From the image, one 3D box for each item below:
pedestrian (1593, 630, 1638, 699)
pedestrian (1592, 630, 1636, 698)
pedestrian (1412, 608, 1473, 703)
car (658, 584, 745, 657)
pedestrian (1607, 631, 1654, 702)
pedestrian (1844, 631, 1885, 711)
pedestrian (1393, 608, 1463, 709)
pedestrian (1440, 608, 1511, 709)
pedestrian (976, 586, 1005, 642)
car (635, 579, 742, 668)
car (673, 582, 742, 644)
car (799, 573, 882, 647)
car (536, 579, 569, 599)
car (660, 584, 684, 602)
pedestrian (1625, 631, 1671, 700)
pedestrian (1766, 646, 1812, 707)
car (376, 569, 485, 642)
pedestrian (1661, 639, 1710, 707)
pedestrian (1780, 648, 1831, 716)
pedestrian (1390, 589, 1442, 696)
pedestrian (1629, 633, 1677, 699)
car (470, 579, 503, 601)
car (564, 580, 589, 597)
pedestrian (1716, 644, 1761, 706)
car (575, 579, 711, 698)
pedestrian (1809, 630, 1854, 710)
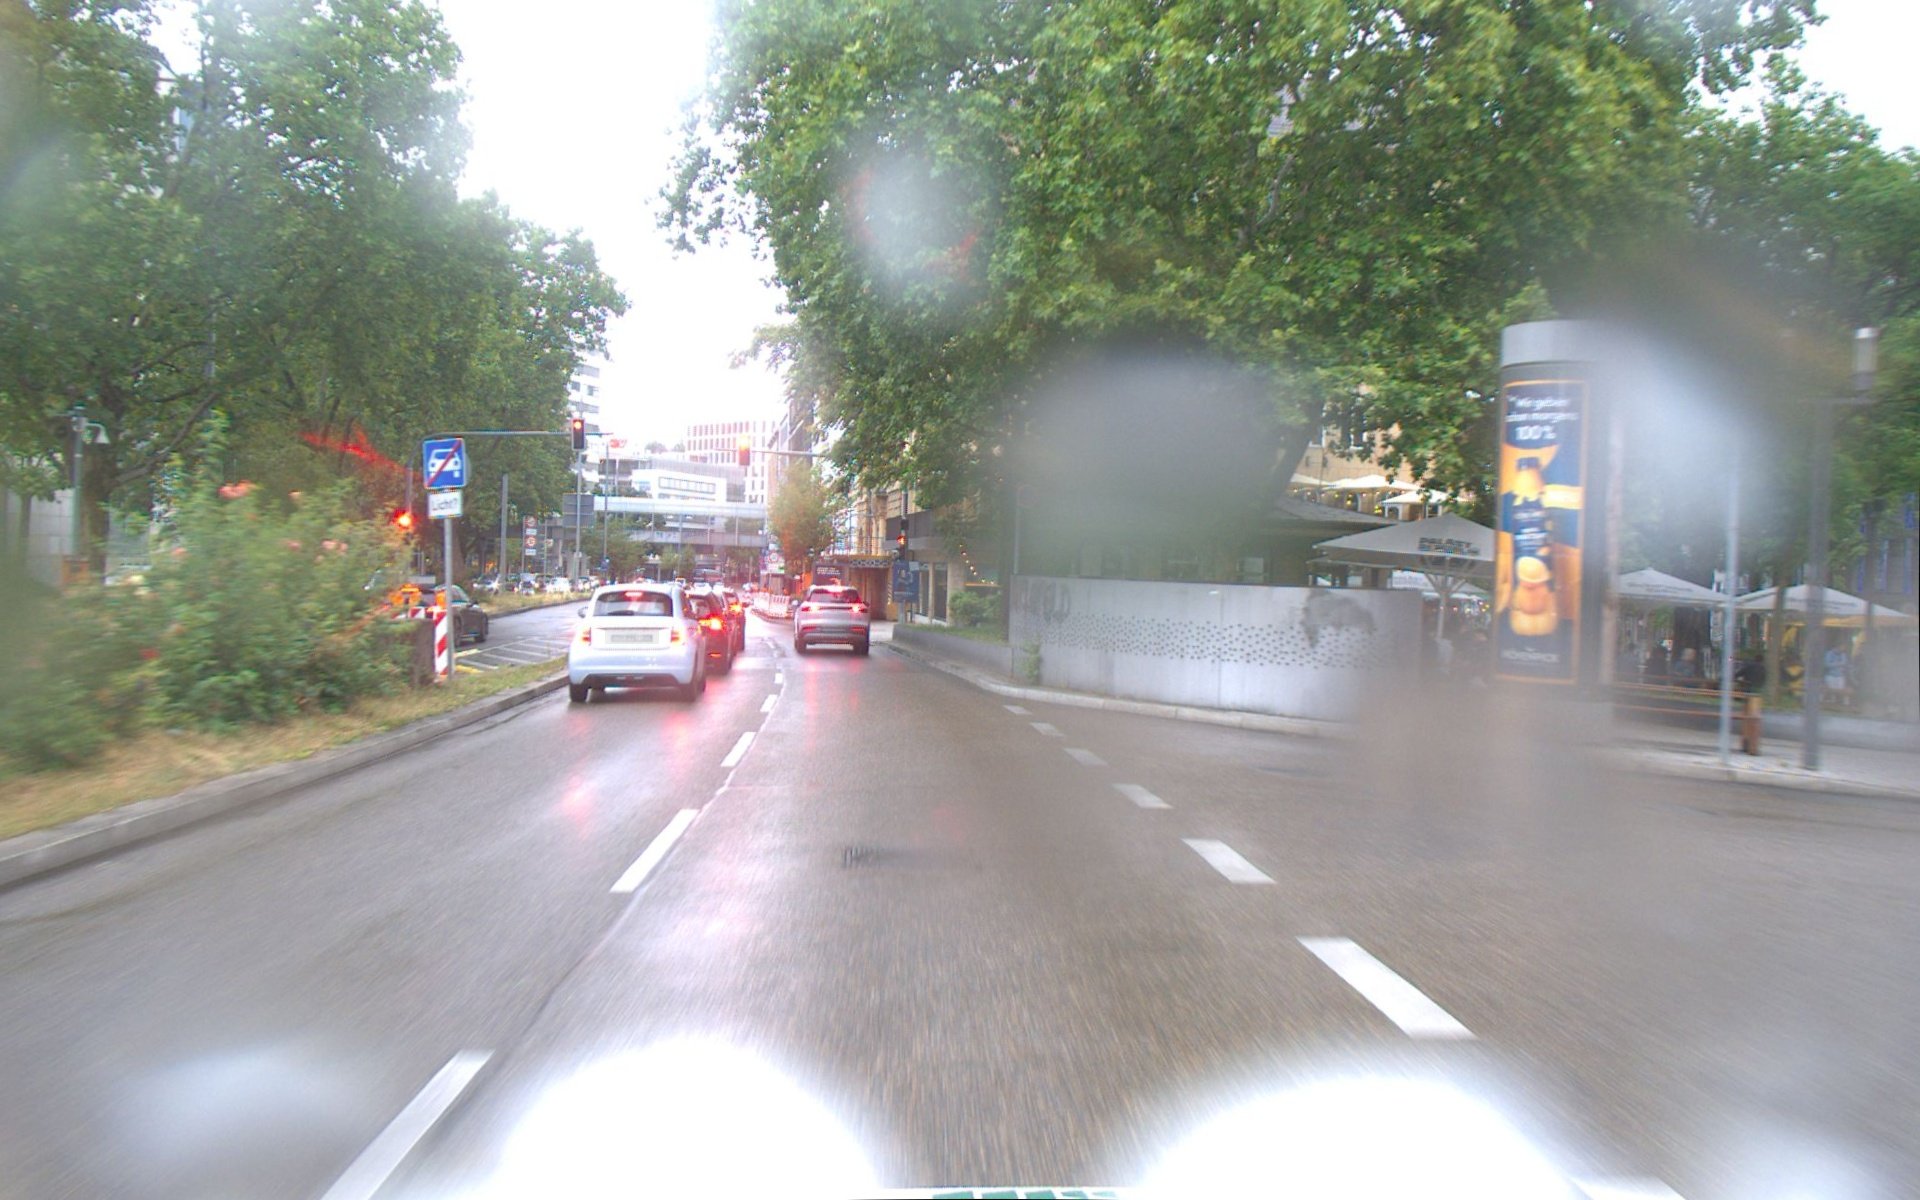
[{"bbox_3d":[14.295,1.411,36.078,0.597,1.436,0.628,4,-1,-14],"label":"pedestrian"},{"bbox_3d":[14.557,1.422,36.826,0.597,1.436,0.628,4,-1,-14],"label":"pedestrian"},{"bbox_3d":[7.646,0.866,26.206,0.671,1.434,0.660,4,-1,-2],"label":"pedestrian"},{"bbox_3d":[-5.599,0.397,36.256,1.658,1.488,4.340,0,0,-6],"label":"car"},{"bbox_3d":[14.249,1.406,35.160,0.597,1.436,0.628,4,-1,-14],"label":"pedestrian"},{"bbox_3d":[21.724,1.704,39.737,0.615,1.864,0.610,4,-1,14],"label":"pedestrian"},{"bbox_3d":[6.983,0.857,24.709,0.671,1.434,0.905,4,-1,-2],"label":"pedestrian"},{"bbox_3d":[7.702,0.861,24.761,0.671,1.434,0.905,4,-1,-2],"label":"pedestrian"},{"bbox_3d":[0.998,0.448,54.461,0.842,1.811,0.717,2,-1,-3],"label":"pedestrian"},{"bbox_3d":[-4.823,0.380,29.790,1.658,1.488,4.125,0,0,-6],"label":"car"},{"bbox_3d":[-6.437,0.296,42.249,1.660,1.488,4.337,0,0,-9],"label":"car"},{"bbox_3d":[-3.104,0.232,42.095,1.909,1.695,4.340,2,0,-6],"label":"car"},{"bbox_3d":[-31.699,-0.861,128.665,2.119,1.488,4.336,0,0,-9],"label":"car"},{"bbox_3d":[-24.797,-0.608,142.439,1.942,1.488,4.336,0,0,-9],"label":"car"},{"bbox_3d":[15.057,1.433,36.216,0.597,1.436,0.628,4,-1,-14],"label":"pedestrian"},{"bbox_3d":[18.166,1.663,36.236,0.616,1.272,0.609,4,-1,-2],"label":"pedestrian"},{"bbox_3d":[-12.743,0.107,40.021,1.666,1.648,3.995,1,1,-6],"label":"car"},{"bbox_3d":[14.268,1.426,32.538,0.616,1.272,0.609,4,-1,-2],"label":"pedestrian"},{"bbox_3d":[16.559,1.600,32.395,0.616,1.272,0.609,4,-1,-2],"label":"pedestrian"},{"bbox_3d":[7.544,0.699,27.374,0.708,1.731,0.618,1,-1,25],"label":"pedestrian"},{"bbox_3d":[13.981,1.328,33.381,0.616,1.272,0.609,4,-1,-2],"label":"pedestrian"},{"bbox_3d":[-34.049,-0.732,119.040,1.761,1.536,4.491,0,0,-9],"label":"car"},{"bbox_3d":[-34.011,-1.026,146.797,1.761,1.536,4.491,0,0,-9],"label":"car"},{"bbox_3d":[16.922,1.626,35.952,0.616,1.272,0.609,4,-1,-2],"label":"pedestrian"},{"bbox_3d":[-4.320,0.476,22.931,1.559,1.517,3.500,0,0,-6],"label":"car"},{"bbox_3d":[21.028,1.684,39.906,0.730,1.864,0.610,4,-1,14],"label":"pedestrian"}]
